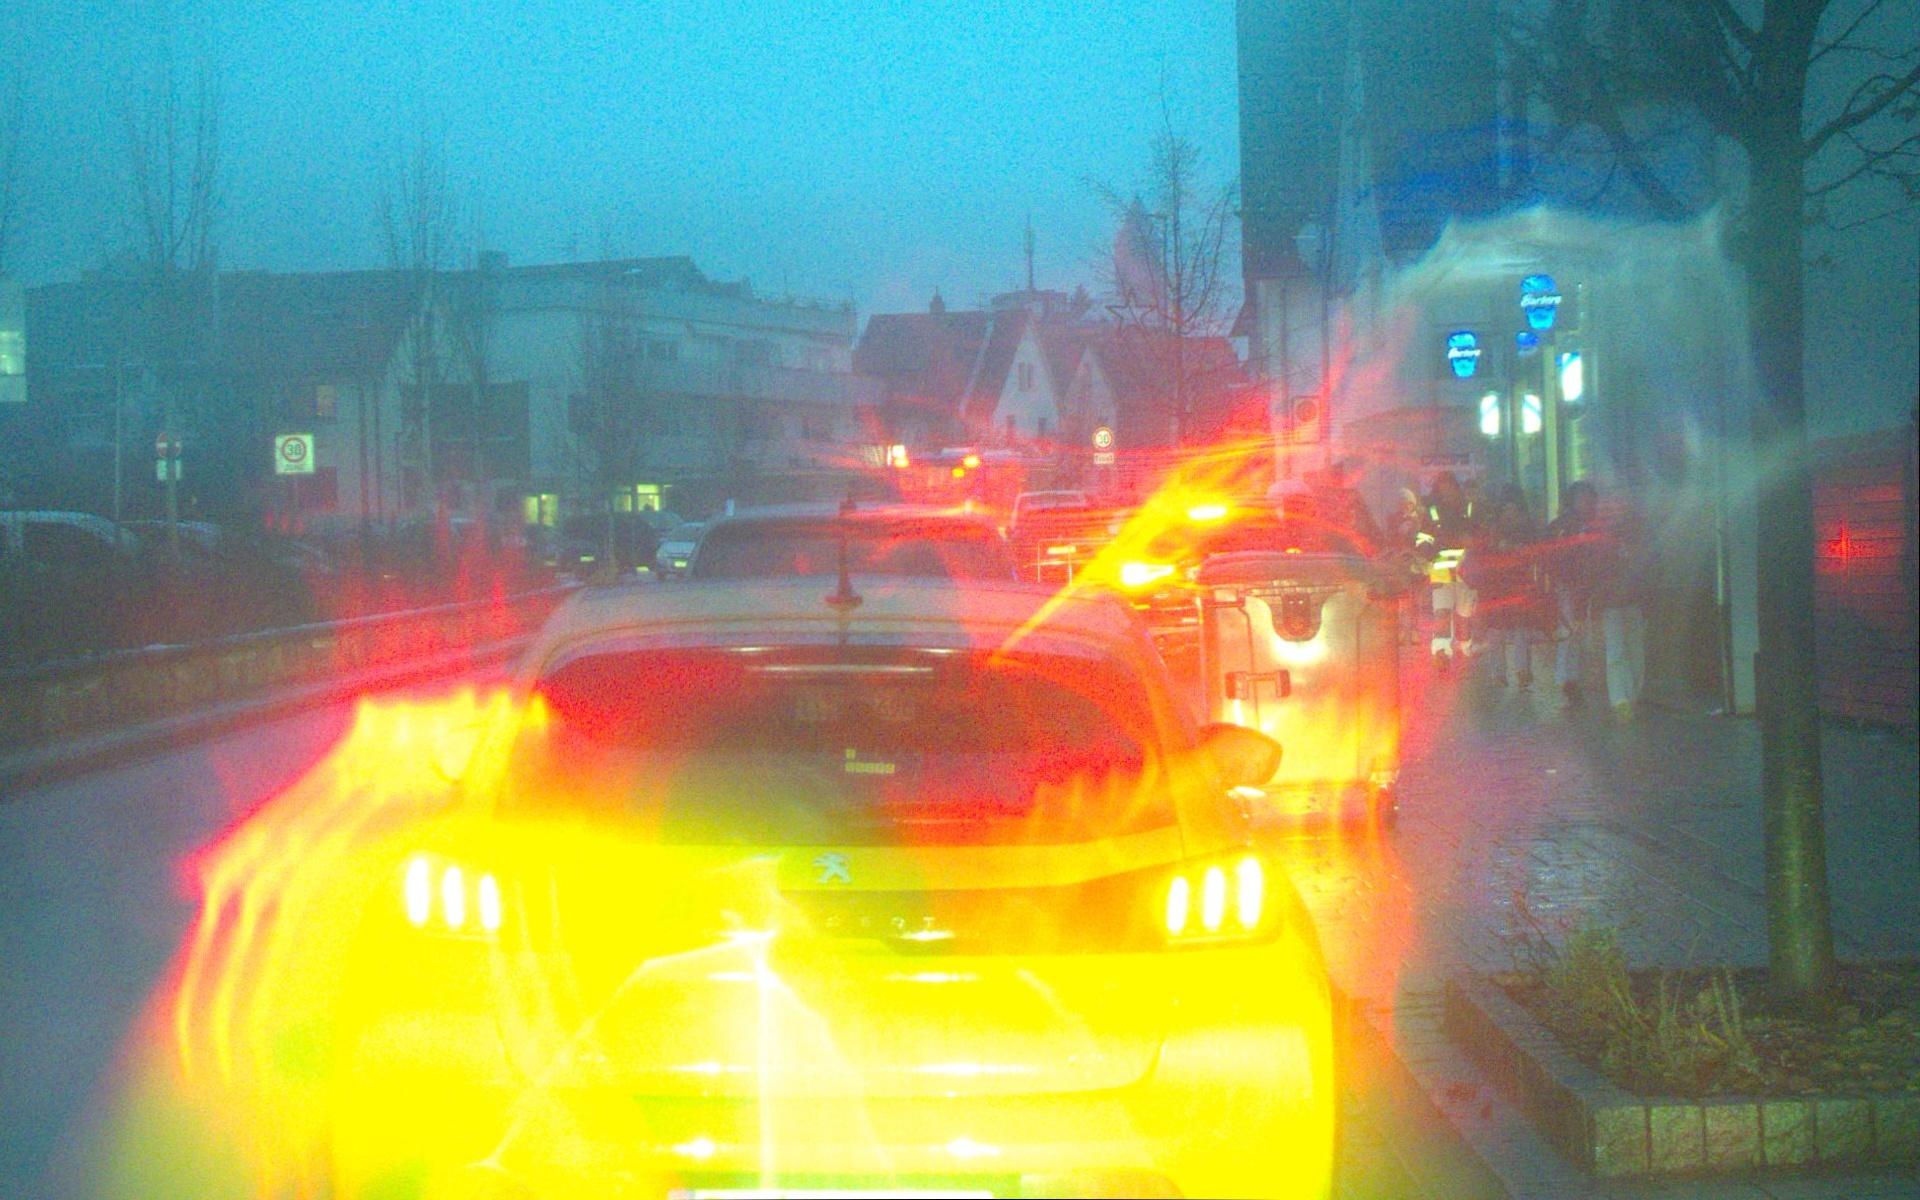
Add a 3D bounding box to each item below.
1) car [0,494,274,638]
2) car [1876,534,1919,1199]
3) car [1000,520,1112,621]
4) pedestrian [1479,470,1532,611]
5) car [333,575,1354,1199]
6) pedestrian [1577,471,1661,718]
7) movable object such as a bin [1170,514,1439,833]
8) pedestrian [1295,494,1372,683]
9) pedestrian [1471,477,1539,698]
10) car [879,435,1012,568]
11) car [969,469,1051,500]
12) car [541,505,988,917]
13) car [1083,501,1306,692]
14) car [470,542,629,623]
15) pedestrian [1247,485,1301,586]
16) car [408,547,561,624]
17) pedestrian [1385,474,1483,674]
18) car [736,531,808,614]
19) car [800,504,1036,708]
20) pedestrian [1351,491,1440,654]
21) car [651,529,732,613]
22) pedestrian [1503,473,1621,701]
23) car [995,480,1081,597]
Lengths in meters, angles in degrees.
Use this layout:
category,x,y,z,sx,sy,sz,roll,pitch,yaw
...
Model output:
category,x,y,z,sx,sy,sz,roll,pitch,yaw
car,-10.612,-0.408,40.724,4.625,1.662,2.000,0,1,-3
car,2.471,0.626,3.978,1.728,1.459,4.199,-3,2,2
car,1.778,-0.561,65.143,1.997,1.858,4.083,0,1,0
pedestrian,6.770,-0.733,42.650,0.618,1.721,0.501,0,-1,12
car,-0.196,0.685,6.807,1.563,1.408,3.018,1,1,0
pedestrian,4.483,-0.028,23.409,0.529,1.647,0.953,0,-1,9
movable object such as a bin,1.664,0.331,16.872,1.129,1.415,1.417,-4,2,2
pedestrian,3.422,-0.111,31.527,0.573,1.694,0.653,-3,1,1
pedestrian,4.504,-0.111,28.402,0.529,1.794,0.864,0,1,9
car,-0.378,-2.411,86.519,3.190,3.021,6.305,1,-1,0
car,2.235,-5.135,153.025,3.576,1.284,1.327,1,-1,4
car,-0.801,0.402,15.492,1.766,1.623,3.586,1,1,-1
car,2.189,-0.067,33.149,1.735,1.686,4.386,-1,1,-1
car,-11.332,-0.449,94.691,4.383,2.159,1.995,0,-1,44
pedestrian,4.759,-0.989,52.129,0.618,1.510,0.734,-1,2,-14
car,-12.634,-0.374,91.221,4.166,1.969,1.818,0,-1,44
pedestrian,4.174,-0.237,30.217,0.712,1.709,1.034,-2,2,13
car,-5.208,-0.737,95.641,1.919,2.208,3.975,1,-1,-2
car,-0.295,0.001,24.345,1.541,1.327,3.311,1,1,-1
pedestrian,4.431,-0.288,35.025,0.618,1.621,0.907,-1,2,-14
car,-6.844,-0.708,87.952,1.919,2.021,3.975,1,-1,-2
pedestrian,4.585,-0.098,26.254,0.747,1.673,1.052,-2,0,6
car,1.737,-1.346,77.525,1.870,2.460,4.443,1,-1,1
